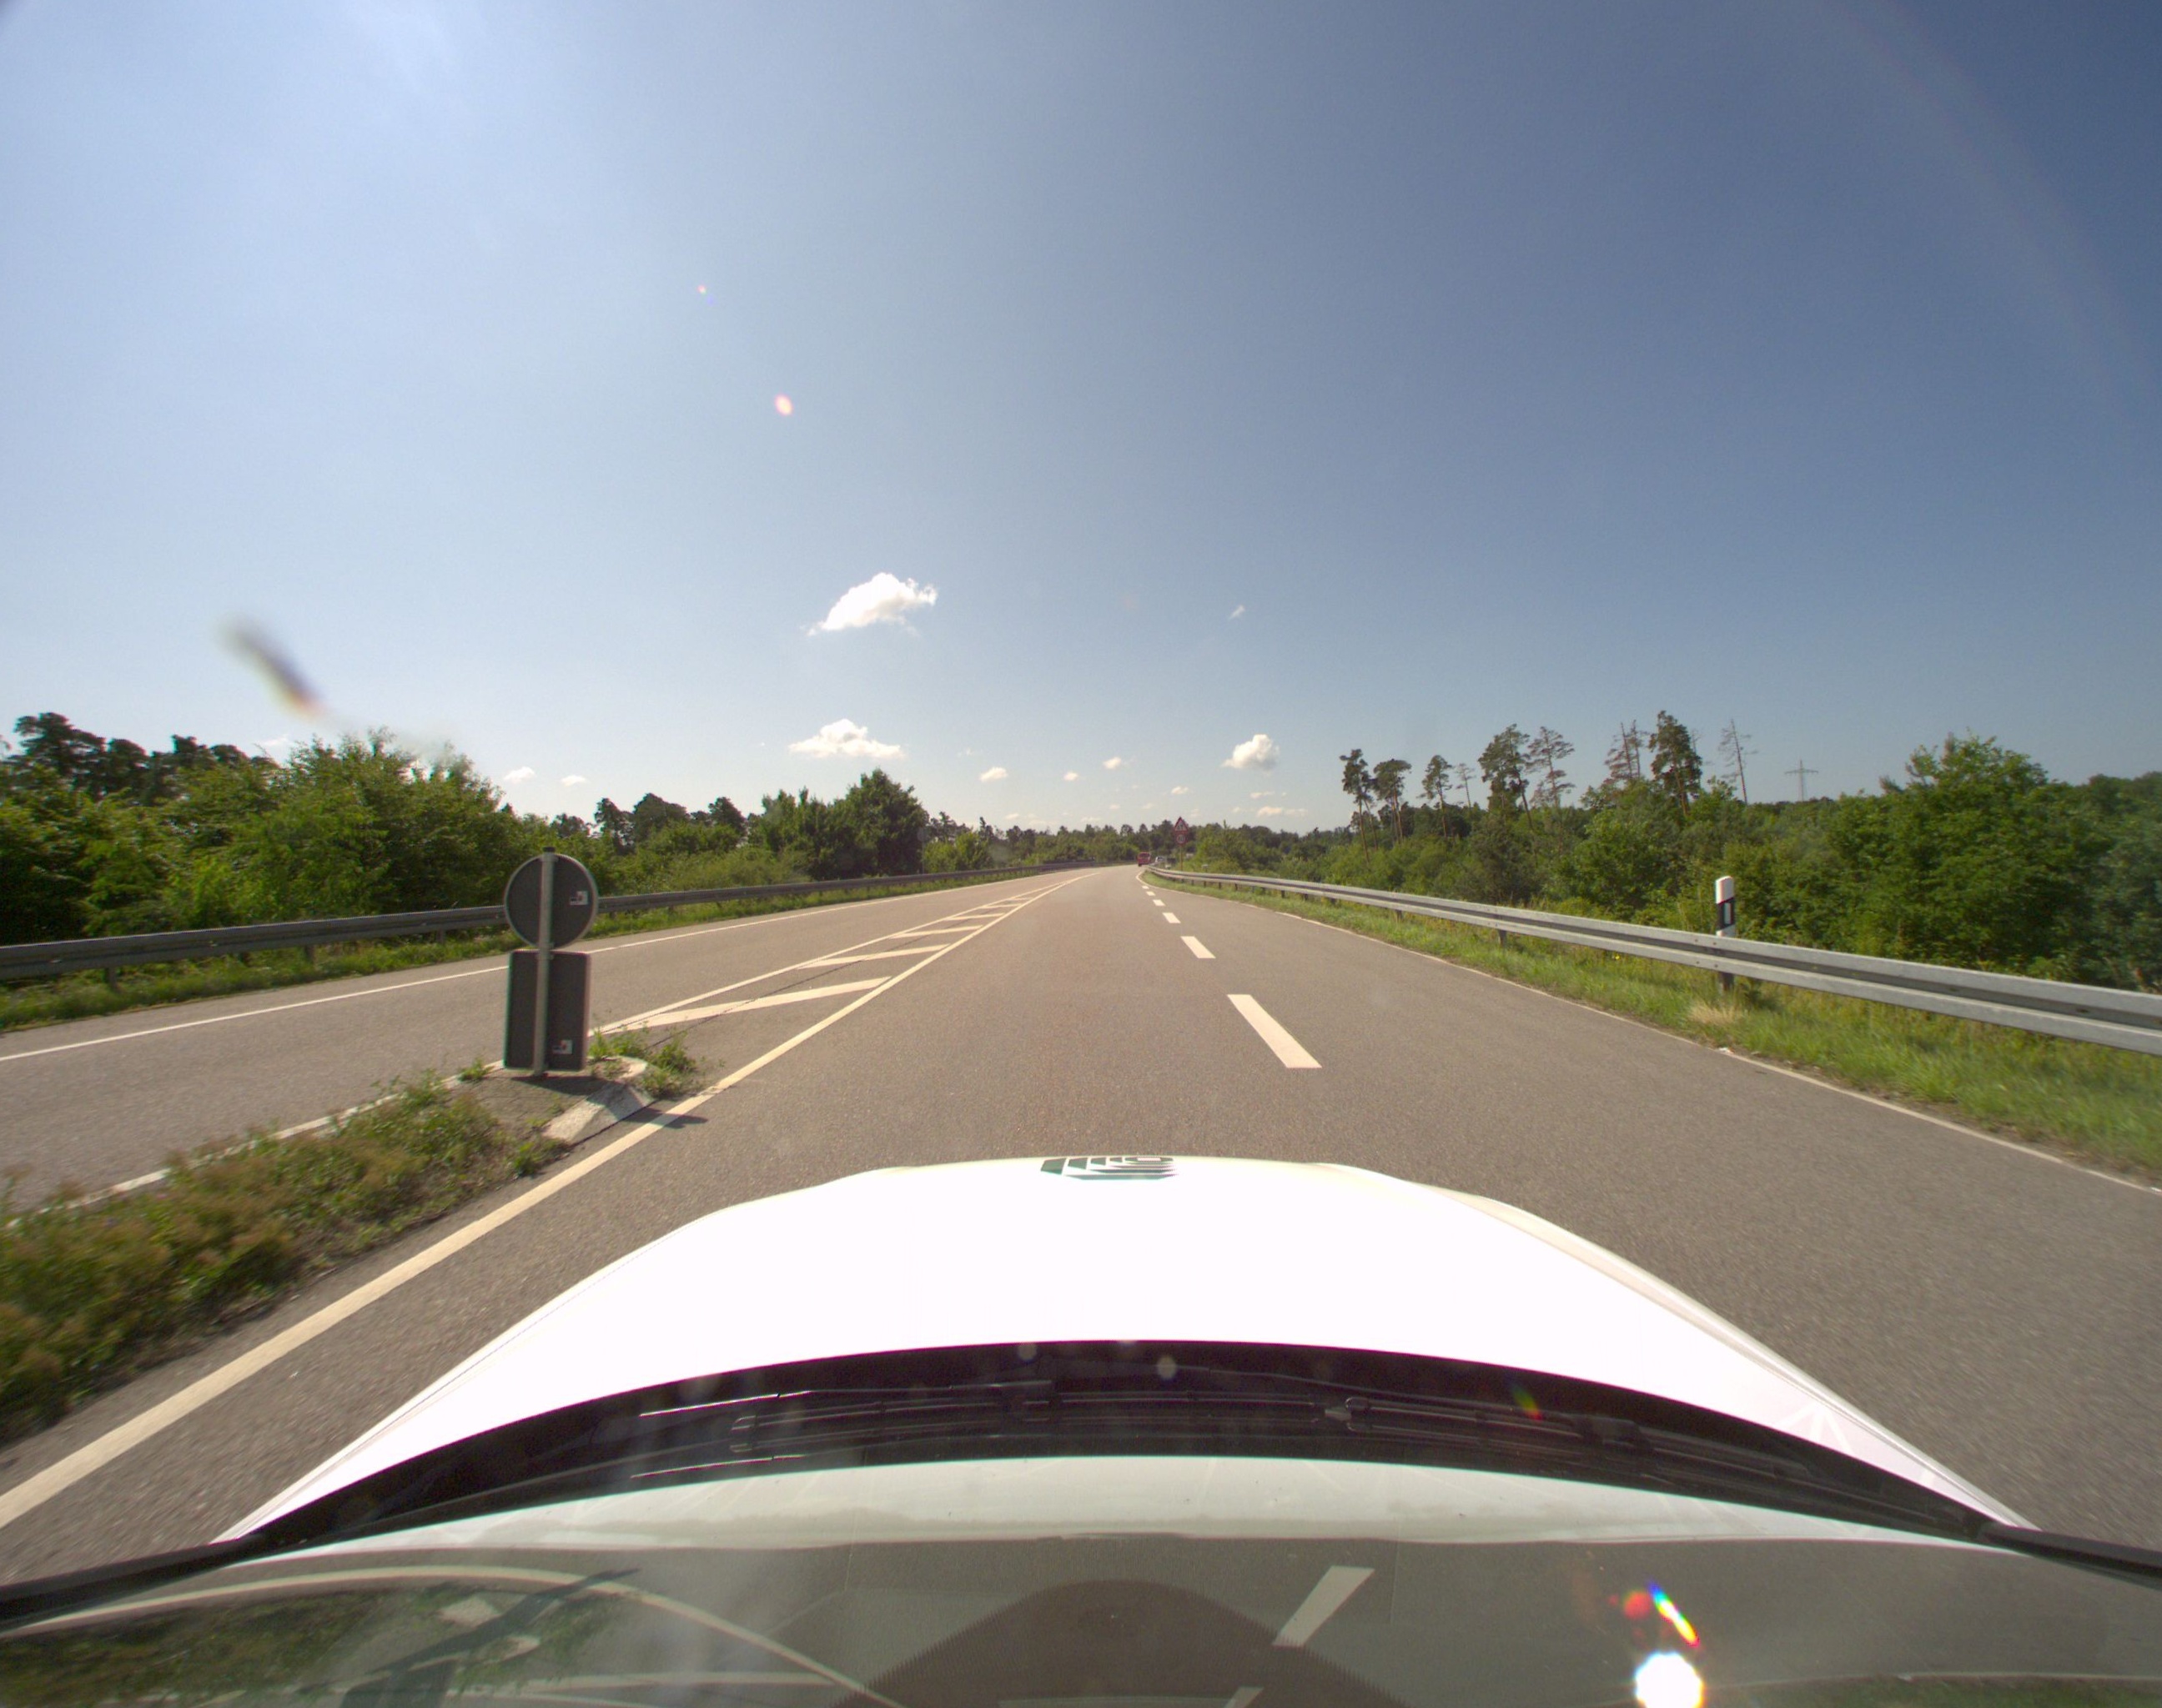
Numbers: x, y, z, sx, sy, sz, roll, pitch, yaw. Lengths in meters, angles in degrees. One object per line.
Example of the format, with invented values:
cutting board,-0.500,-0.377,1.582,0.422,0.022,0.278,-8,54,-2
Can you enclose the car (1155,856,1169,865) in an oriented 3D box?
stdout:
car,13.650,1.140,136.912,1.996,1.494,4.248,0,-1,8

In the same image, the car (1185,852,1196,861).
car,26.047,0.579,193.593,2.171,1.955,5.821,0,0,10

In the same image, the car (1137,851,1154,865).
car,9.123,0.554,115.364,2.065,1.993,5.123,0,-1,8
